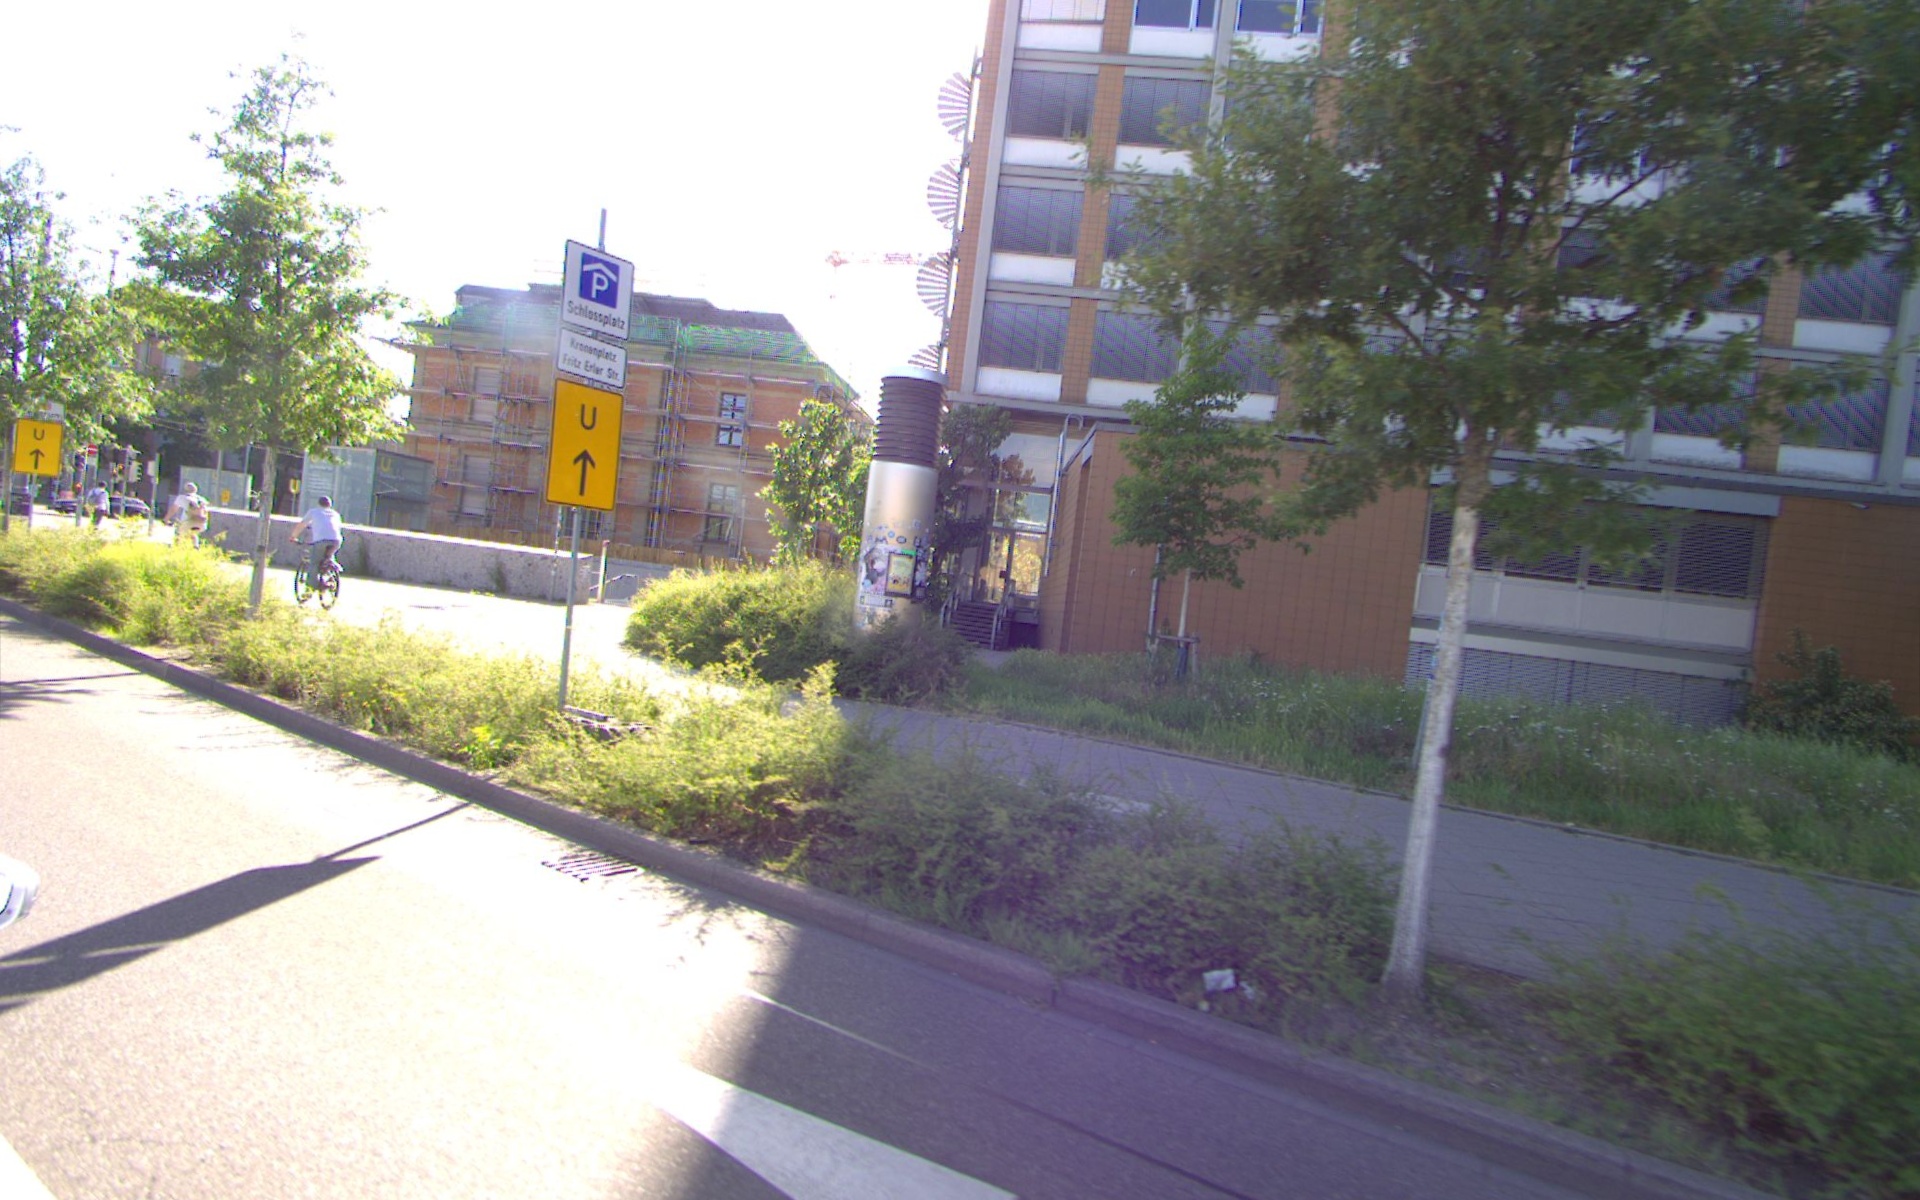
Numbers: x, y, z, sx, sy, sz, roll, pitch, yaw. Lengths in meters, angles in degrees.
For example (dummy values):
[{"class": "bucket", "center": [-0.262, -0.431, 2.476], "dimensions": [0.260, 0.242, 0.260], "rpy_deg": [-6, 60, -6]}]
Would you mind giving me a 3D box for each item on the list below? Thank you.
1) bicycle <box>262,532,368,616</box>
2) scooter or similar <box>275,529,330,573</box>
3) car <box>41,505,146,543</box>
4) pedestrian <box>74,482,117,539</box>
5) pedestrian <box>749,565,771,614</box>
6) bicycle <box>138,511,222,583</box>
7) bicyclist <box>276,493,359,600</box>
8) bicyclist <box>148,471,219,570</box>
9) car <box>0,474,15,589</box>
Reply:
[{"class": "bicycle", "center": [-10.794, -0.445, 16.827], "dimensions": [1.840, 1.180, 0.716], "rpy_deg": [7, 1, 33]}, {"class": "scooter or similar", "center": [-18.148, -1.348, 27.778], "dimensions": [1.226, 1.025, 0.469], "rpy_deg": [9, 1, 15]}, {"class": "car", "center": [-51.453, -4.486, 59.872], "dimensions": [1.698, 1.458, 4.380], "rpy_deg": [8, -2, 17]}, {"class": "pedestrian", "center": [-29.105, -3.004, 33.888], "dimensions": [0.586, 1.744, 0.869], "rpy_deg": [5, -1, -10]}, {"class": "pedestrian", "center": [-7.522, -0.406, 37.813], "dimensions": [0.529, 1.774, 0.787], "rpy_deg": [9, 1, -8]}, {"class": "bicycle", "center": [-15.152, -1.036, 19.530], "dimensions": [1.841, 1.180, 0.745], "rpy_deg": [7, 1, 37]}, {"class": "bicyclist", "center": [-10.736, -0.889, 16.813], "dimensions": [0.962, 1.637, 0.720], "rpy_deg": [8, 1, 33]}, {"class": "bicyclist", "center": [-15.032, -1.538, 19.469], "dimensions": [0.963, 1.785, 0.719], "rpy_deg": [8, 1, 37]}, {"class": "car", "center": [-9.581, -0.429, 8.445], "dimensions": [3.743, 1.636, 1.876], "rpy_deg": [6, -2, 40]}]
